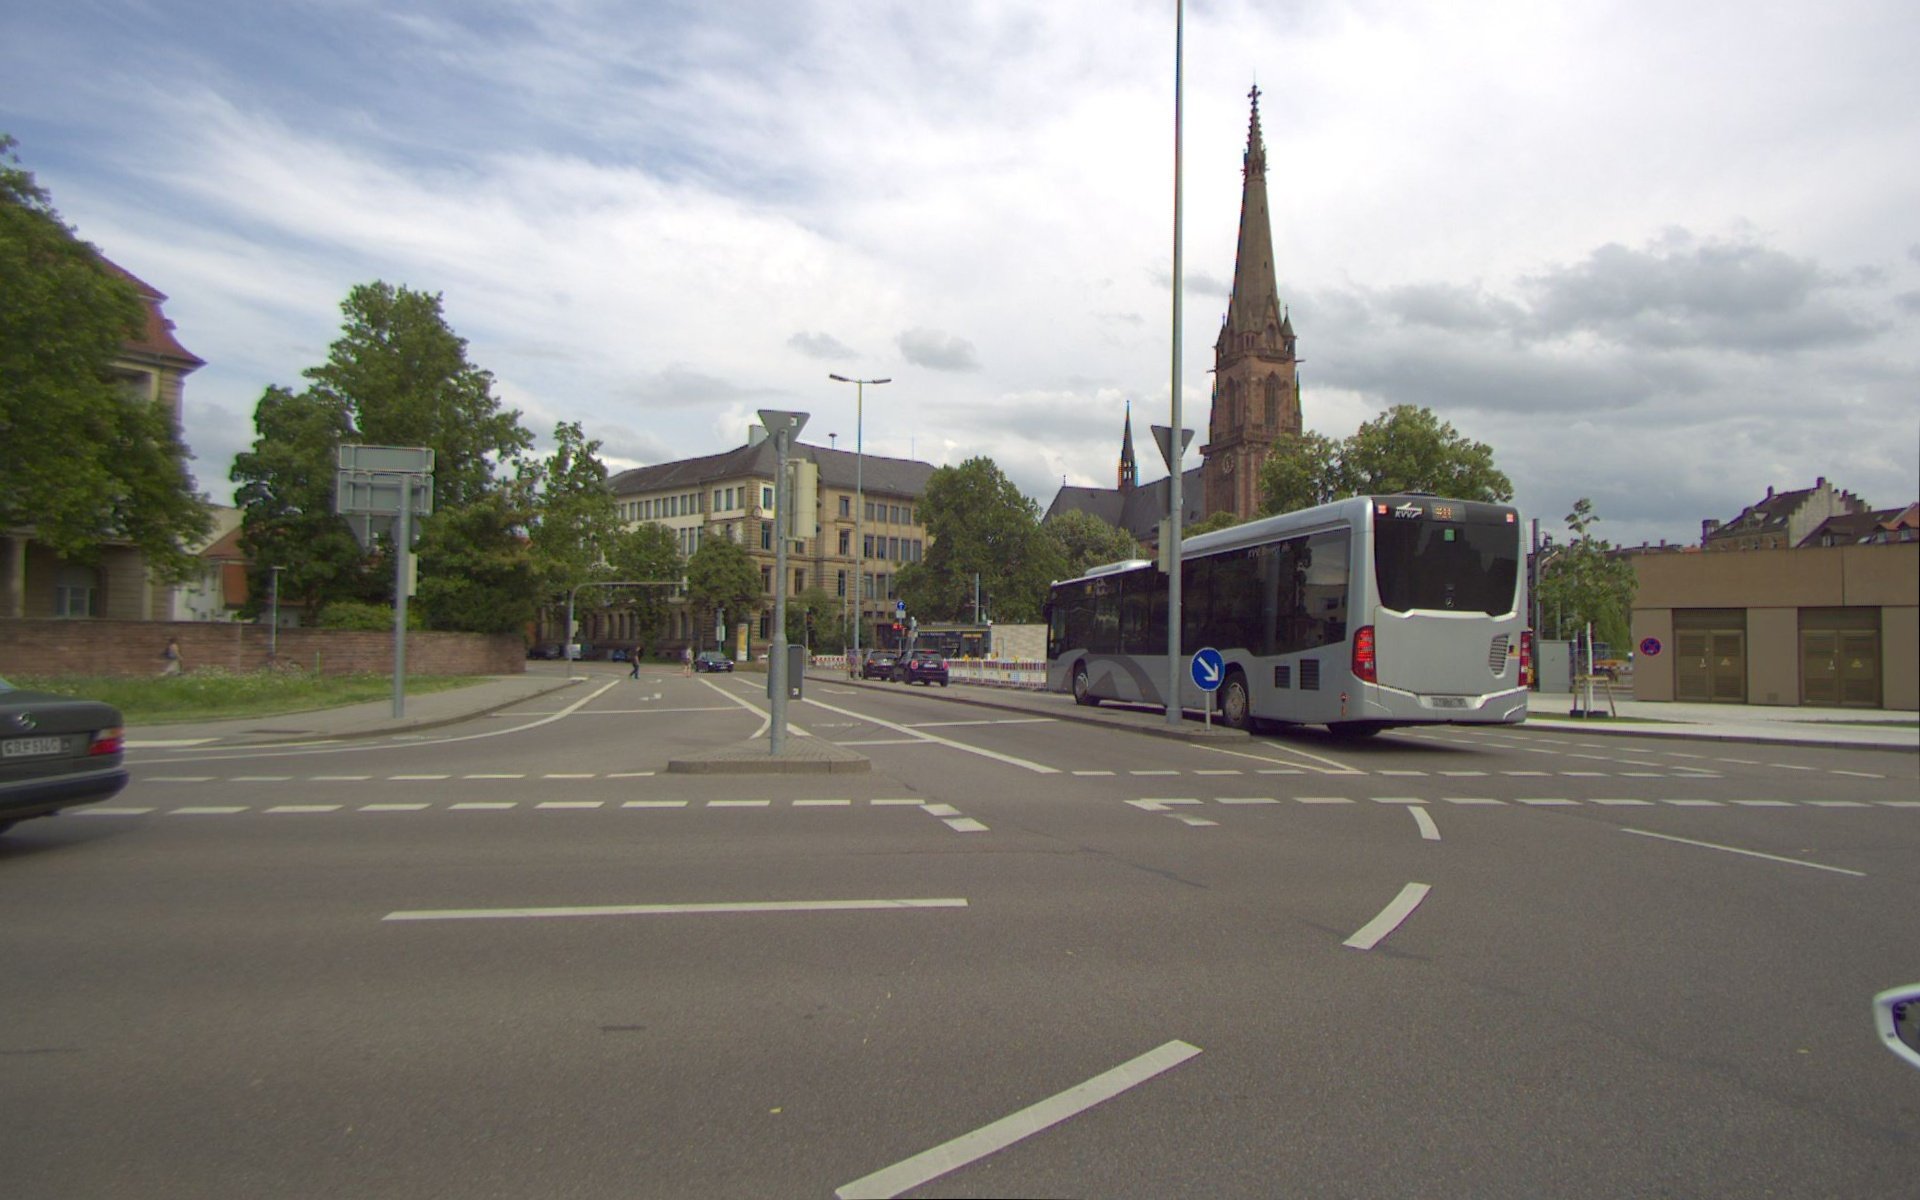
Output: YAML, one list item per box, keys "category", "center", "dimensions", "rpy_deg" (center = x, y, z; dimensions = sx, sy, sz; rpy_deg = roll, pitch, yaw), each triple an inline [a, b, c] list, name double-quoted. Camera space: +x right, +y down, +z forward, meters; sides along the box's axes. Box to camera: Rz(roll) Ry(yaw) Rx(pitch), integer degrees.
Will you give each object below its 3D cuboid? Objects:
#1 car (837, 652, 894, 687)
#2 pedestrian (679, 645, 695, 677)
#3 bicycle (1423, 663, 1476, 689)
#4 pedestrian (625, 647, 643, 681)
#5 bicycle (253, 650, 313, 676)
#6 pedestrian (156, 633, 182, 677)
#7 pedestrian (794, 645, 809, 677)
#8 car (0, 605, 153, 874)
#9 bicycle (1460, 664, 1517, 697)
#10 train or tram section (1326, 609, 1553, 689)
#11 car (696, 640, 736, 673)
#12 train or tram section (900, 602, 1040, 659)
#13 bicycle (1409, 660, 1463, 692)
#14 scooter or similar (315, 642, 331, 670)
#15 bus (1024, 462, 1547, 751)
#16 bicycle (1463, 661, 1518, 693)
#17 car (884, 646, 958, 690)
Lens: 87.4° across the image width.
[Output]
- category: "car"
  center: [-4.517, 3.251, 47.555]
  dimensions: [1.967, 1.379, 4.260]
  rpy_deg: [2, -1, -16]
- category: "pedestrian"
  center: [-15.378, 3.433, 56.591]
  dimensions: [0.786, 1.734, 0.838]
  rpy_deg: [2, -1, -12]
- category: "bicycle"
  center: [20.642, 3.190, 42.388]
  dimensions: [1.934, 0.983, 0.582]
  rpy_deg: [1, -1, 35]
- category: "pedestrian"
  center: [-17.301, 3.393, 53.278]
  dimensions: [0.786, 1.734, 0.838]
  rpy_deg: [2, -1, -12]
- category: "bicycle"
  center: [-28.680, 2.641, 42.575]
  dimensions: [0.765, 1.018, 1.922]
  rpy_deg: [1, -1, 31]
- category: "pedestrian"
  center: [-30.629, 2.109, 38.882]
  dimensions: [0.523, 1.676, 0.628]
  rpy_deg: [1, -1, 36]
- category: "pedestrian"
  center: [-9.002, 3.473, 57.022]
  dimensions: [0.786, 1.734, 0.838]
  rpy_deg: [2, -1, -12]
- category: "car"
  center: [-7.565, 0.740, 5.928]
  dimensions: [4.327, 1.500, 1.701]
  rpy_deg: [2, -1, 4]
- category: "bicycle"
  center: [20.594, 3.120, 39.122]
  dimensions: [1.931, 1.171, 0.583]
  rpy_deg: [1, -1, 30]
- category: "train or tram section"
  center: [22.754, 2.221, 48.106]
  dimensions: [9.353, 3.289, 3.050]
  rpy_deg: [1, -1, 38]
- category: "car"
  center: [-16.940, 3.882, 69.683]
  dimensions: [1.972, 2.040, 3.977]
  rpy_deg: [2, -1, -24]
- category: "train or tram section"
  center: [0.526, 1.916, 65.764]
  dimensions: [9.223, 3.321, 3.050]
  rpy_deg: [1, -1, 38]
- category: "bicycle"
  center: [19.133, 3.033, 40.393]
  dimensions: [1.931, 1.171, 0.583]
  rpy_deg: [1, -1, 30]
- category: "scooter or similar"
  center: [-28.052, 2.460, 44.248]
  dimensions: [0.514, 1.154, 1.507]
  rpy_deg: [2, -1, -30]
- category: "bus"
  center: [4.523, 0.533, 19.265]
  dimensions: [2.667, 3.482, 14.154]
  rpy_deg: [2, -4, -13]
- category: "bicycle"
  center: [21.314, 3.087, 40.387]
  dimensions: [1.931, 1.171, 0.583]
  rpy_deg: [1, -1, 30]
- category: "car"
  center: [-1.618, 2.686, 40.333]
  dimensions: [1.968, 1.506, 3.985]
  rpy_deg: [2, -1, -17]
